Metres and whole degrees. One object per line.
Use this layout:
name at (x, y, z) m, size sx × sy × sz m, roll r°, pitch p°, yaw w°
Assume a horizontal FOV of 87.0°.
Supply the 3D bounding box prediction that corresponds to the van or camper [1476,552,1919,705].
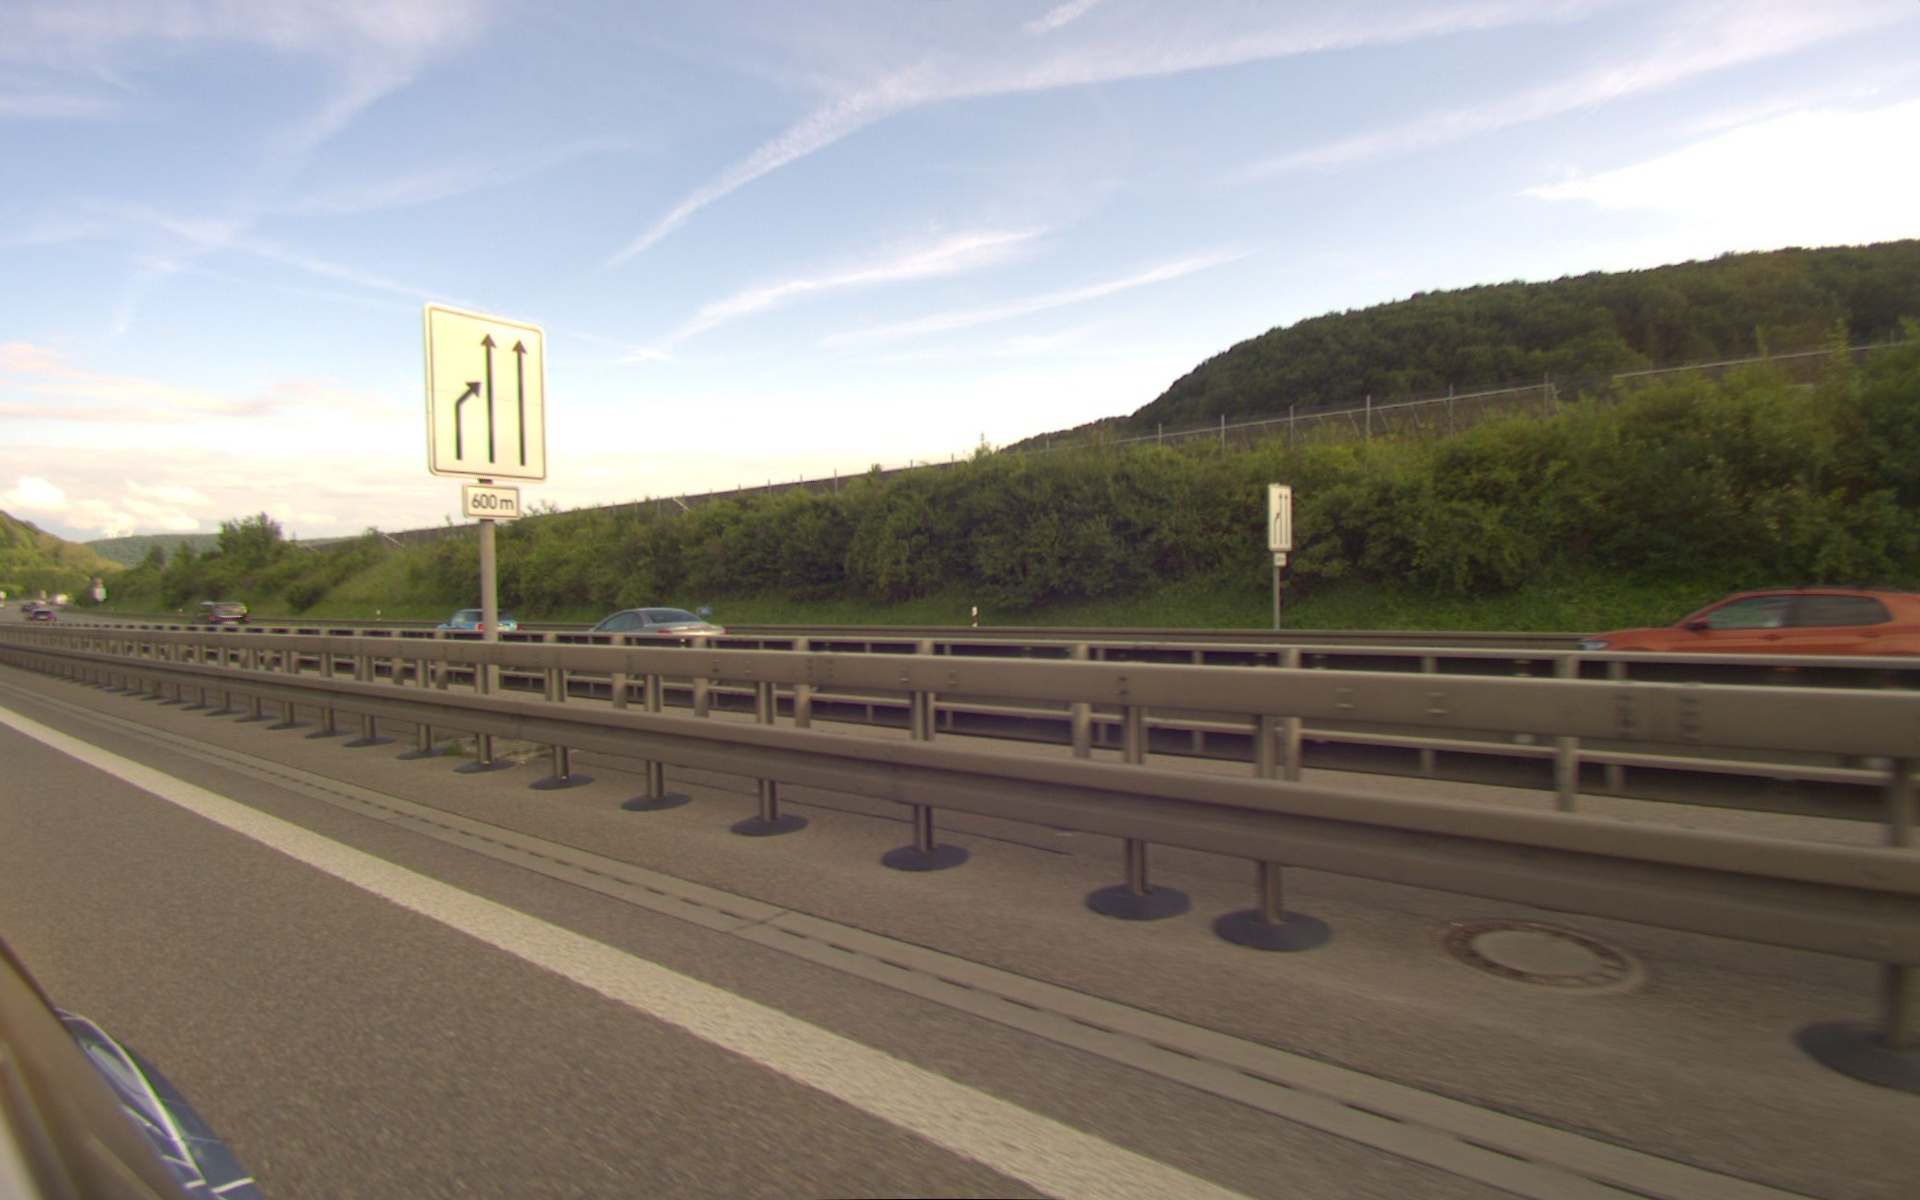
van or camper at (9.815, 0.354, 12.931) m, size 5.448 × 1.673 × 1.974 m, roll -1°, pitch -2°, yaw 39°

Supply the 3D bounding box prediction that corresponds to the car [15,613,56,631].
car at (-78.774, 1.869, 86.200) m, size 4.582 × 1.441 × 1.974 m, roll 0°, pitch 1°, yaw 39°

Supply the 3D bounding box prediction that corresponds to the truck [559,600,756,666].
truck at (-6.282, 0.661, 20.885) m, size 3.995 × 1.231 × 1.974 m, roll -1°, pitch -2°, yaw 38°

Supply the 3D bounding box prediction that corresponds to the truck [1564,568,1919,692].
truck at (10.089, 0.373, 12.812) m, size 3.942 × 1.364 × 1.974 m, roll -1°, pitch -2°, yaw 39°

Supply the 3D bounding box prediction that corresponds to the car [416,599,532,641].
car at (-16.844, 0.690, 35.003) m, size 4.351 × 1.364 × 1.974 m, roll -1°, pitch -2°, yaw 40°

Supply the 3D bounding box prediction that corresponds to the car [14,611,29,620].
car at (-172.496, 2.849, 186.032) m, size 4.000 × 1.426 × 1.688 m, roll 0°, pitch 0°, yaw 43°
